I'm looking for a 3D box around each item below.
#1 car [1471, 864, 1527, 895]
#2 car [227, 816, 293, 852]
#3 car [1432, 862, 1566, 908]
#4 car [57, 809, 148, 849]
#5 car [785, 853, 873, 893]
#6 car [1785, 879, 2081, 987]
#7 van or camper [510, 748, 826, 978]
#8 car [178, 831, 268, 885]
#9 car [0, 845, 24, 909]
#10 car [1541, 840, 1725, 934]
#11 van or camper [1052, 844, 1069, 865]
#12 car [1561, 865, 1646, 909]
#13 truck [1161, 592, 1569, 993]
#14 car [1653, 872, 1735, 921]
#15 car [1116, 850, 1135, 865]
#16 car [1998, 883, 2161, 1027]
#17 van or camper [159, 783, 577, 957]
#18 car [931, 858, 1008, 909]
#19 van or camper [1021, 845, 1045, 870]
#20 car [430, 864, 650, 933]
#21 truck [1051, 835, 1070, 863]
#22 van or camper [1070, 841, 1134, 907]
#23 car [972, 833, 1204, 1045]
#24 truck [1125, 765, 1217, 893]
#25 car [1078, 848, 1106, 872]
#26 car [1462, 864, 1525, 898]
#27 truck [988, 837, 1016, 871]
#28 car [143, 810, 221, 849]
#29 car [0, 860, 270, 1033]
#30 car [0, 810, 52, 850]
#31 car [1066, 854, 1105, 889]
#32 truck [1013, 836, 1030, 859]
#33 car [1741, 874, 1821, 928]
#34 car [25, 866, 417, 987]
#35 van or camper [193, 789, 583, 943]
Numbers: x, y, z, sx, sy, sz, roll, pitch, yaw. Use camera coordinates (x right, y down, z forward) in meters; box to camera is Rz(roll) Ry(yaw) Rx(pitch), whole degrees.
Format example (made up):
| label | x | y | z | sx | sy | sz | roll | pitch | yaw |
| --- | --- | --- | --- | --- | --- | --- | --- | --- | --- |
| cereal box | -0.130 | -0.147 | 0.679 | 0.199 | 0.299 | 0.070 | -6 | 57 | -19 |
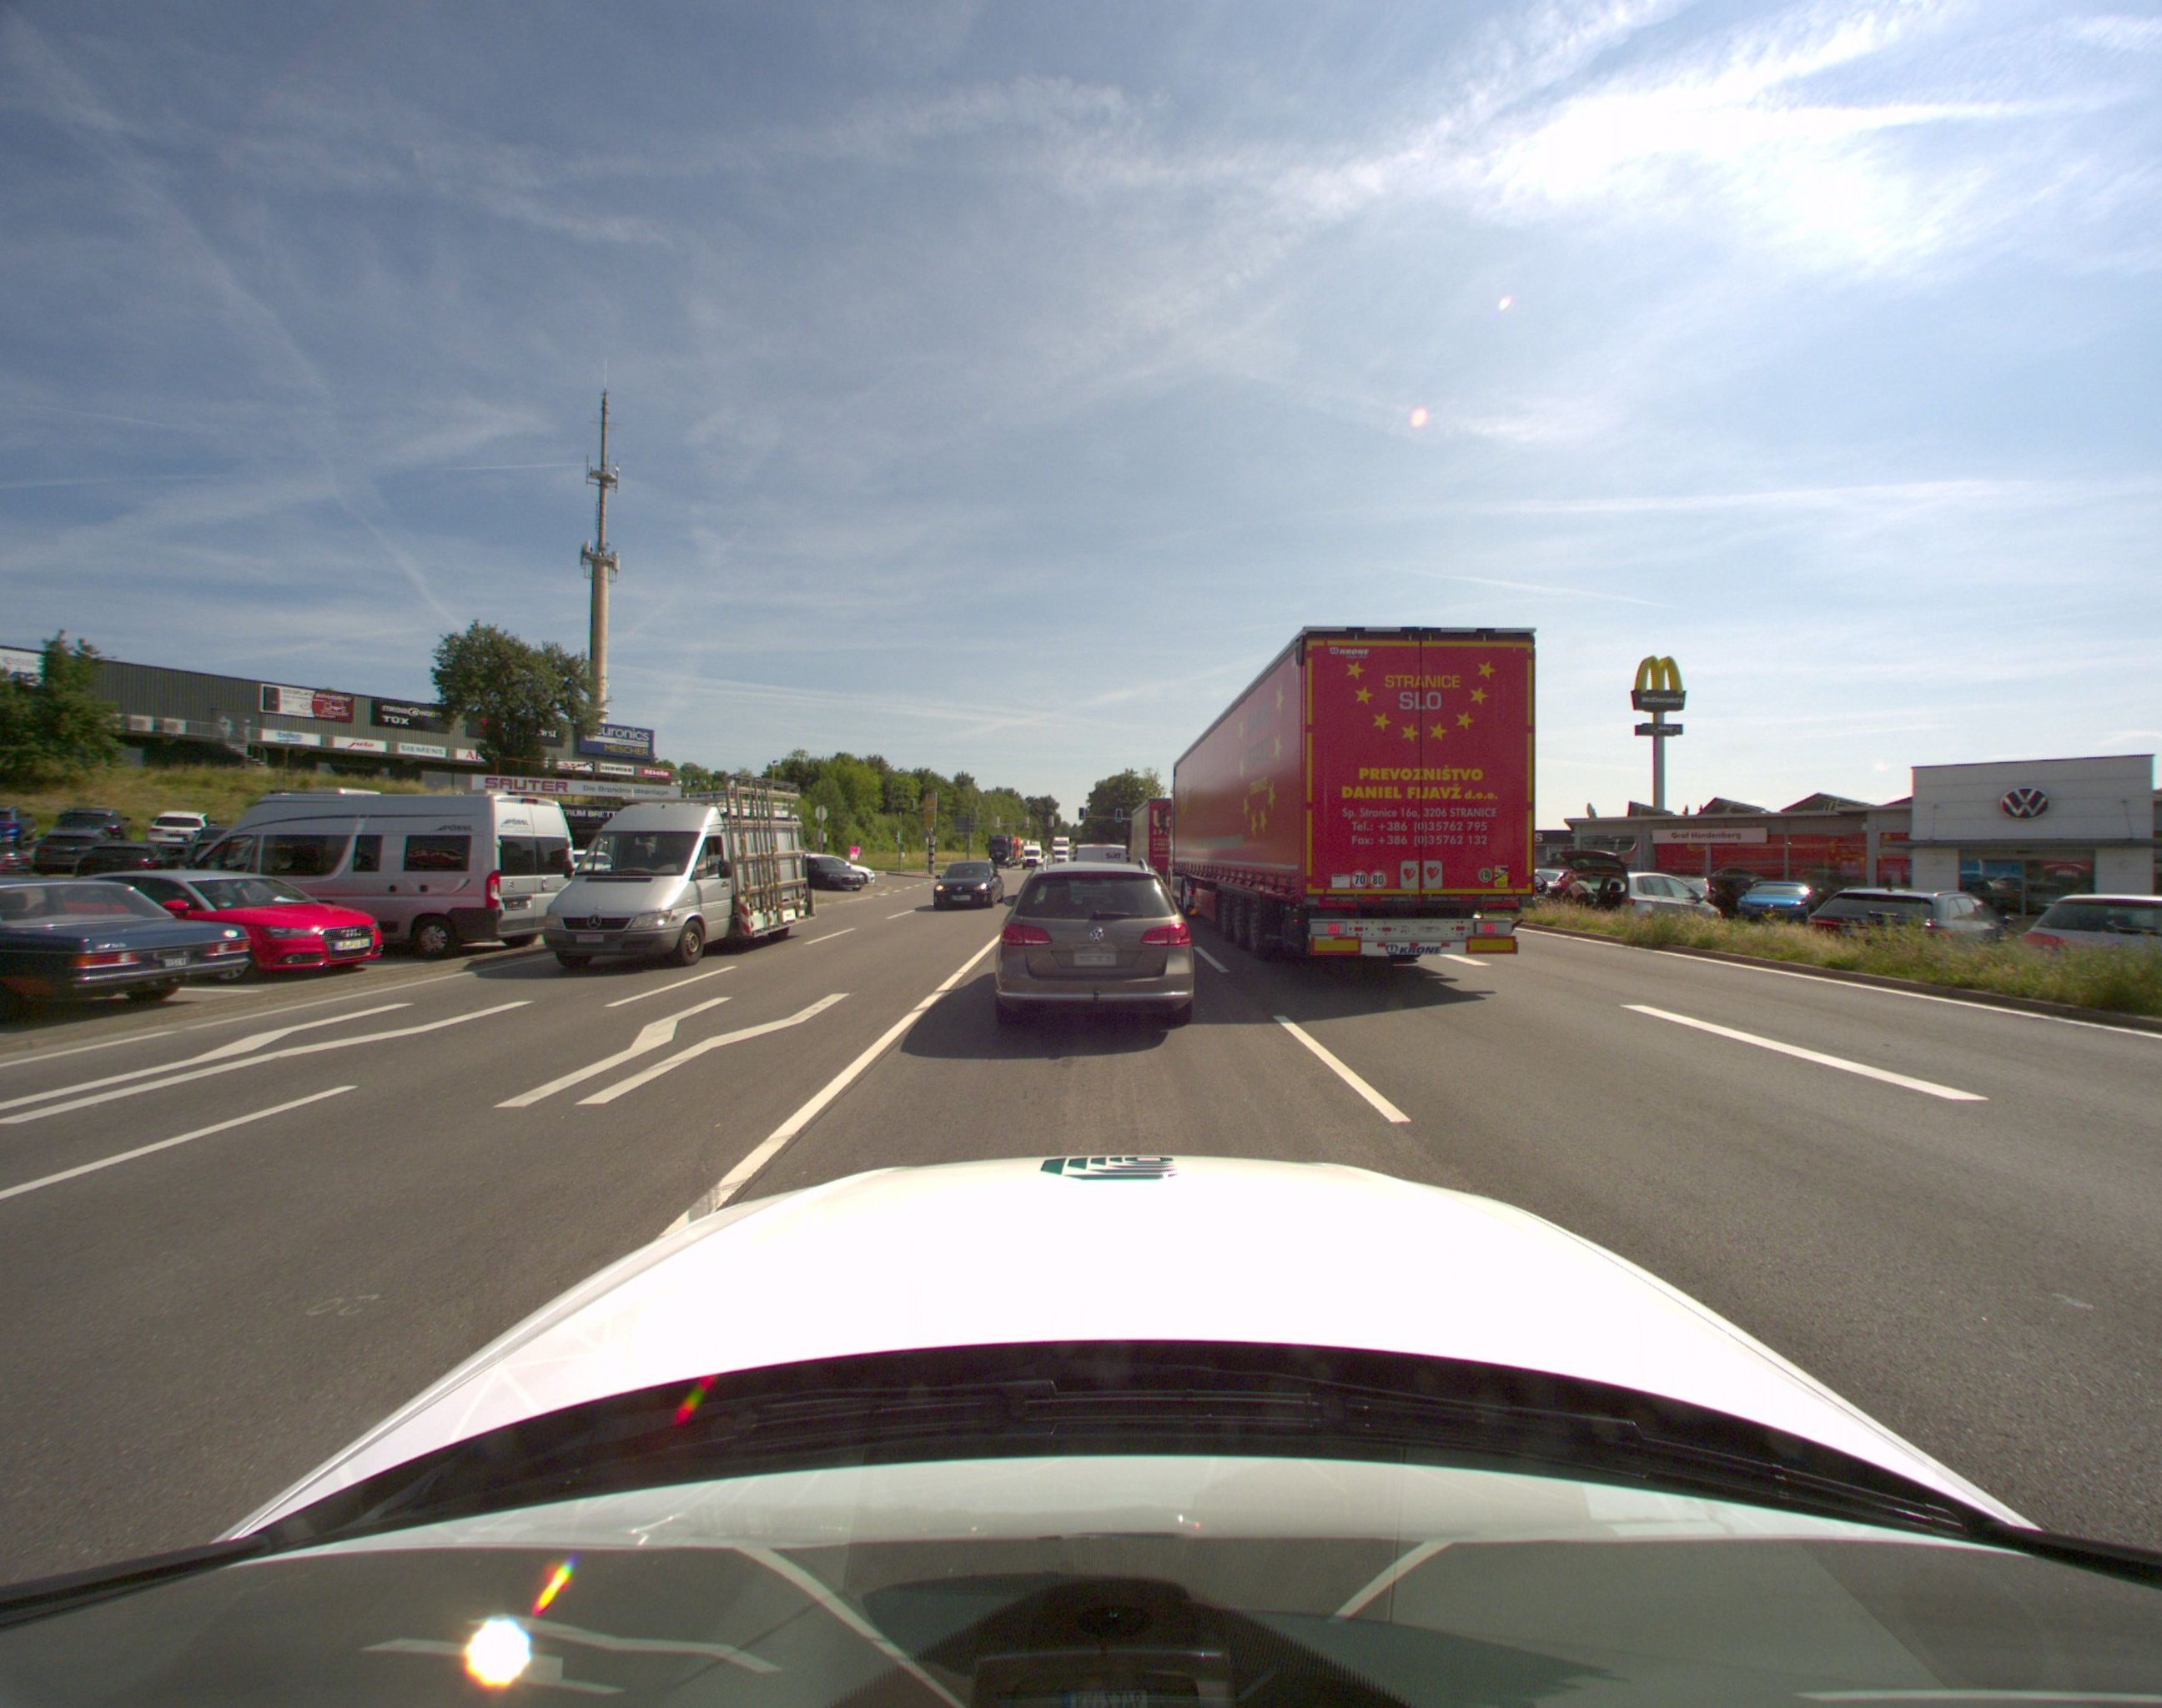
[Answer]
| label | x | y | z | sx | sy | sz | roll | pitch | yaw |
| --- | --- | --- | --- | --- | --- | --- | --- | --- | --- |
| car | 22.189 | 1.309 | 43.211 | 1.666 | 1.531 | 3.618 | 0 | 0 | 44 |
| car | -36.713 | -0.841 | 36.490 | 1.745 | 1.450 | 3.705 | 1 | -1 | -40 |
| car | 15.218 | 1.070 | 29.832 | 2.005 | 1.531 | 3.964 | 0 | 0 | -28 |
| car | -40.095 | -0.971 | 33.463 | 1.745 | 1.450 | 3.705 | 1 | -1 | -40 |
| car | -11.698 | 0.847 | 37.678 | 2.143 | 1.693 | 4.473 | -1 | 0 | -43 |
| car | 13.097 | 1.127 | 12.551 | 3.844 | 1.399 | 1.692 | 0 | 0 | -18 |
| van or camper | -6.473 | 0.121 | 13.890 | 2.199 | 3.056 | 5.905 | -1 | 0 | 2 |
| car | -27.152 | 0.128 | 25.735 | 3.780 | 1.588 | 1.780 | -1 | 0 | 41 |
| car | -28.928 | 0.606 | 20.129 | 3.794 | 1.588 | 1.773 | -1 | 0 | 8 |
| car | 12.368 | 0.684 | 18.243 | 3.851 | 1.921 | 1.689 | 0 | 0 | -25 |
| van or camper | -2.844 | 0.102 | 114.546 | 2.216 | 2.841 | 5.710 | 0 | -1 | 1 |
| car | 19.924 | 1.203 | 30.998 | 1.975 | 1.531 | 4.023 | 0 | 0 | 44 |
| truck | 3.843 | -0.659 | 16.975 | 2.947 | 4.269 | 16.585 | 0 | 0 | 1 |
| car | 21.635 | 1.434 | 28.677 | 1.781 | 1.531 | 4.252 | 0 | 0 | 44 |
| car | 4.519 | 0.384 | 83.051 | 1.721 | 1.519 | 3.312 | 1 | -1 | 0 |
| car | 12.772 | 1.083 | 9.446 | 3.849 | 1.399 | 1.690 | 0 | 0 | -23 |
| van or camper | -11.930 | 0.252 | 13.937 | 5.225 | 2.731 | 2.211 | 0 | 0 | 2 |
| car | -3.390 | 0.851 | 25.371 | 1.660 | 1.409 | 3.928 | -2 | 0 | 2 |
| van or camper | -5.021 | 0.384 | 85.422 | 2.166 | 2.551 | 4.170 | 0 | 0 | 0 |
| car | -12.351 | 0.986 | 18.798 | 3.804 | 1.448 | 1.842 | -1 | 0 | -1 |
| truck | -3.204 | -0.742 | 129.282 | 2.544 | 4.307 | 7.596 | -1 | 0 | 1 |
| van or camper | 0.608 | 0.577 | 25.425 | 1.846 | 1.906 | 3.784 | 0 | 0 | 0 |
| car | 0.171 | 0.677 | 8.102 | 1.782 | 1.638 | 3.507 | -1 | 0 | 4 |
| truck | 4.163 | -1.019 | 41.875 | 3.052 | 5.220 | 17.008 | 0 | 0 | 1 |
| car | 0.728 | 0.386 | 52.798 | 1.720 | 1.519 | 3.313 | 0 | -1 | 2 |
| car | 19.702 | 1.246 | 38.862 | 1.666 | 1.531 | 3.618 | 0 | 0 | 44 |
| truck | -9.182 | -0.024 | 95.108 | 2.807 | 3.786 | 6.981 | -2 | 0 | -3 |
| car | -38.511 | -0.998 | 34.976 | 1.745 | 1.537 | 3.705 | 1 | -1 | -40 |
| car | -11.483 | 0.889 | 8.730 | 3.697 | 1.484 | 1.707 | 3 | 0 | -1 |
| car | -42.157 | -0.913 | 31.791 | 1.745 | 1.450 | 3.705 | 1 | -1 | -40 |
| car | 0.246 | 0.801 | 37.959 | 1.721 | 1.519 | 3.313 | 0 | -1 | 1 |
| truck | -9.898 | -1.036 | 136.325 | 2.527 | 3.786 | 6.981 | -2 | 0 | -3 |
| car | 23.092 | 1.485 | 26.826 | 3.808 | 1.557 | 1.681 | 0 | 0 | -44 |
| car | -11.881 | 0.959 | 11.443 | 3.580 | 1.480 | 1.813 | -1 | 0 | 1 |
| van or camper | -13.716 | 0.214 | 16.442 | 5.871 | 2.873 | 2.290 | 0 | 0 | 0 |
